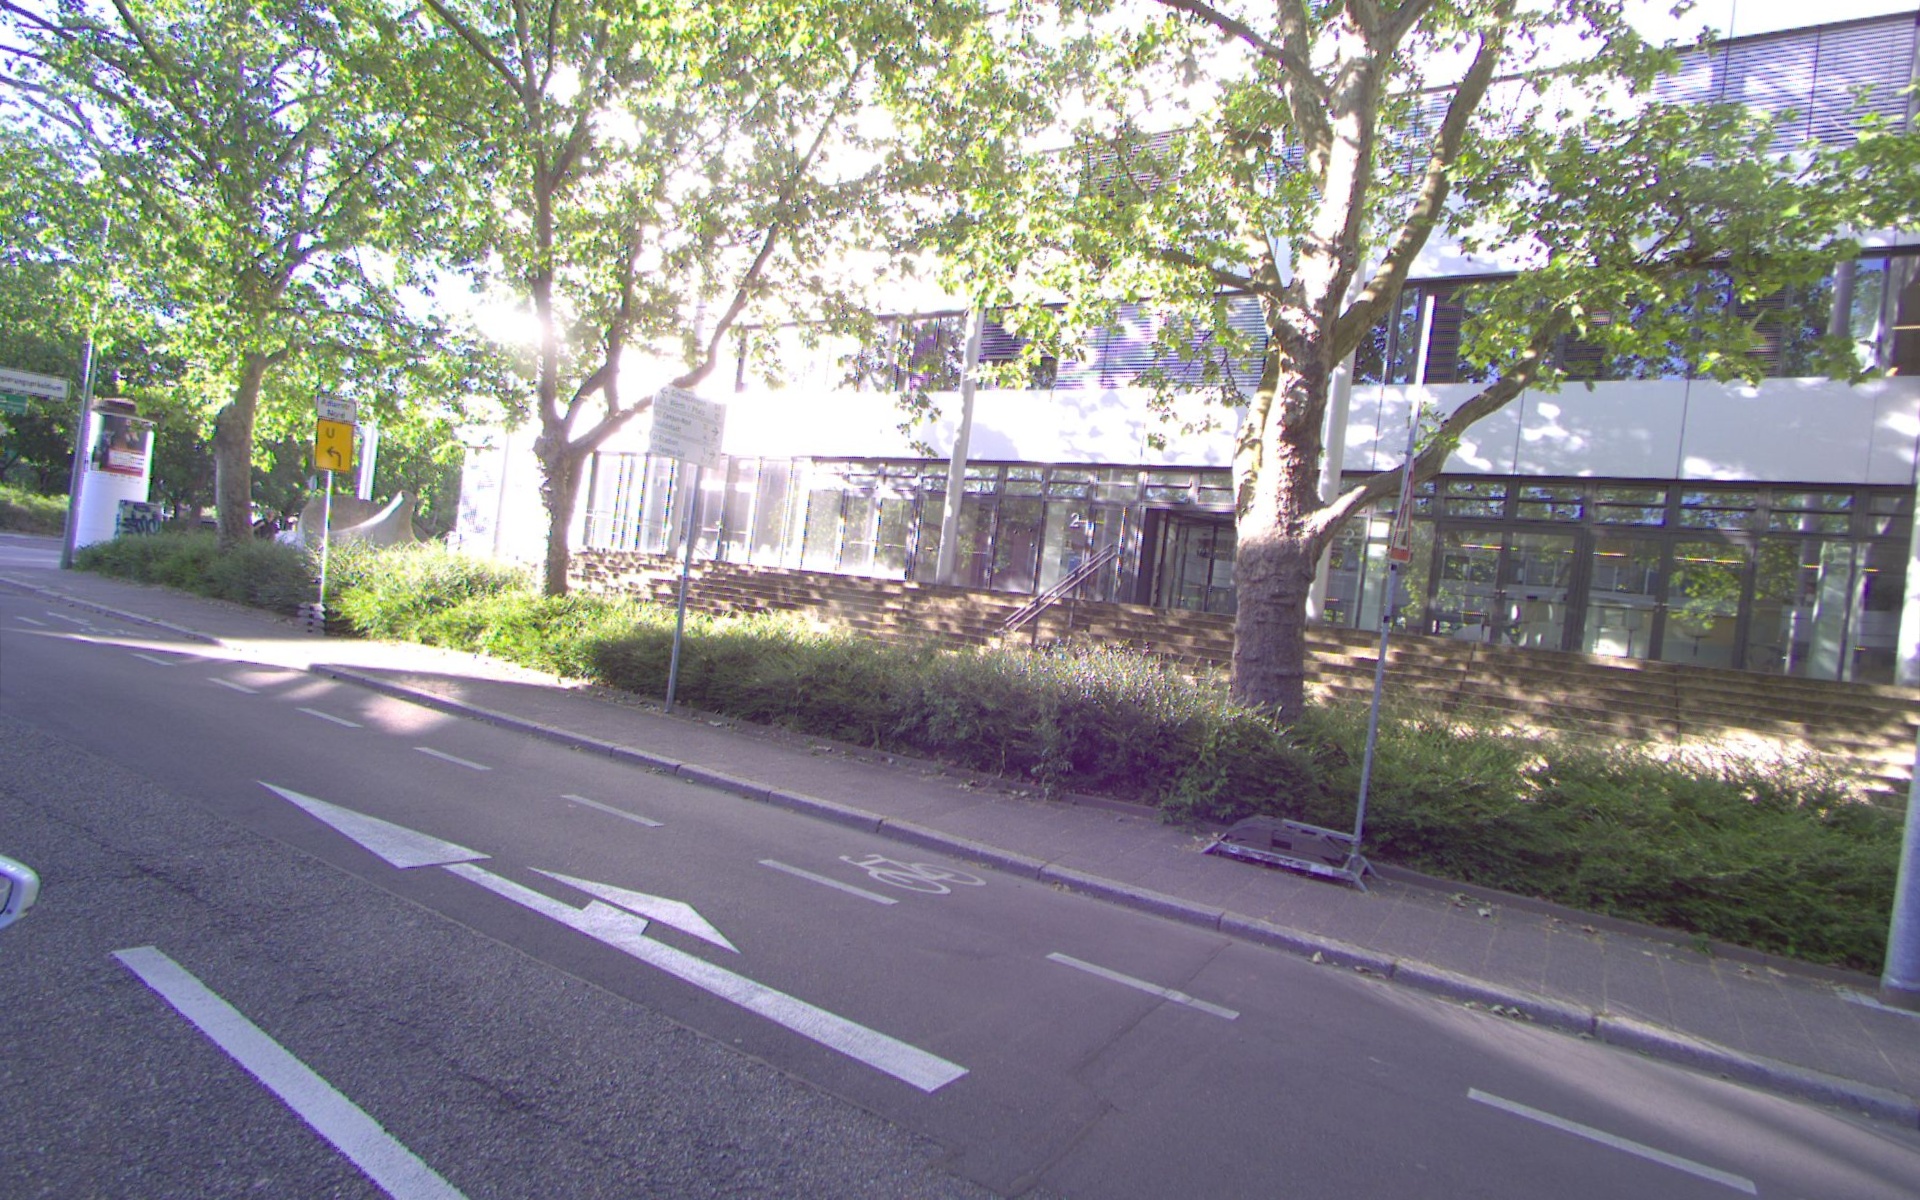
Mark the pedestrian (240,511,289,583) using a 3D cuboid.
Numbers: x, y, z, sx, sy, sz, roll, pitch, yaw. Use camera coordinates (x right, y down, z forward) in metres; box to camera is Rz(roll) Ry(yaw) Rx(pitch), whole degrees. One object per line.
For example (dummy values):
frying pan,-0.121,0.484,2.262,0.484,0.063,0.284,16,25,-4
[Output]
pedestrian,-18.579,-1.406,26.875,0.719,1.799,0.735,6,-1,40
